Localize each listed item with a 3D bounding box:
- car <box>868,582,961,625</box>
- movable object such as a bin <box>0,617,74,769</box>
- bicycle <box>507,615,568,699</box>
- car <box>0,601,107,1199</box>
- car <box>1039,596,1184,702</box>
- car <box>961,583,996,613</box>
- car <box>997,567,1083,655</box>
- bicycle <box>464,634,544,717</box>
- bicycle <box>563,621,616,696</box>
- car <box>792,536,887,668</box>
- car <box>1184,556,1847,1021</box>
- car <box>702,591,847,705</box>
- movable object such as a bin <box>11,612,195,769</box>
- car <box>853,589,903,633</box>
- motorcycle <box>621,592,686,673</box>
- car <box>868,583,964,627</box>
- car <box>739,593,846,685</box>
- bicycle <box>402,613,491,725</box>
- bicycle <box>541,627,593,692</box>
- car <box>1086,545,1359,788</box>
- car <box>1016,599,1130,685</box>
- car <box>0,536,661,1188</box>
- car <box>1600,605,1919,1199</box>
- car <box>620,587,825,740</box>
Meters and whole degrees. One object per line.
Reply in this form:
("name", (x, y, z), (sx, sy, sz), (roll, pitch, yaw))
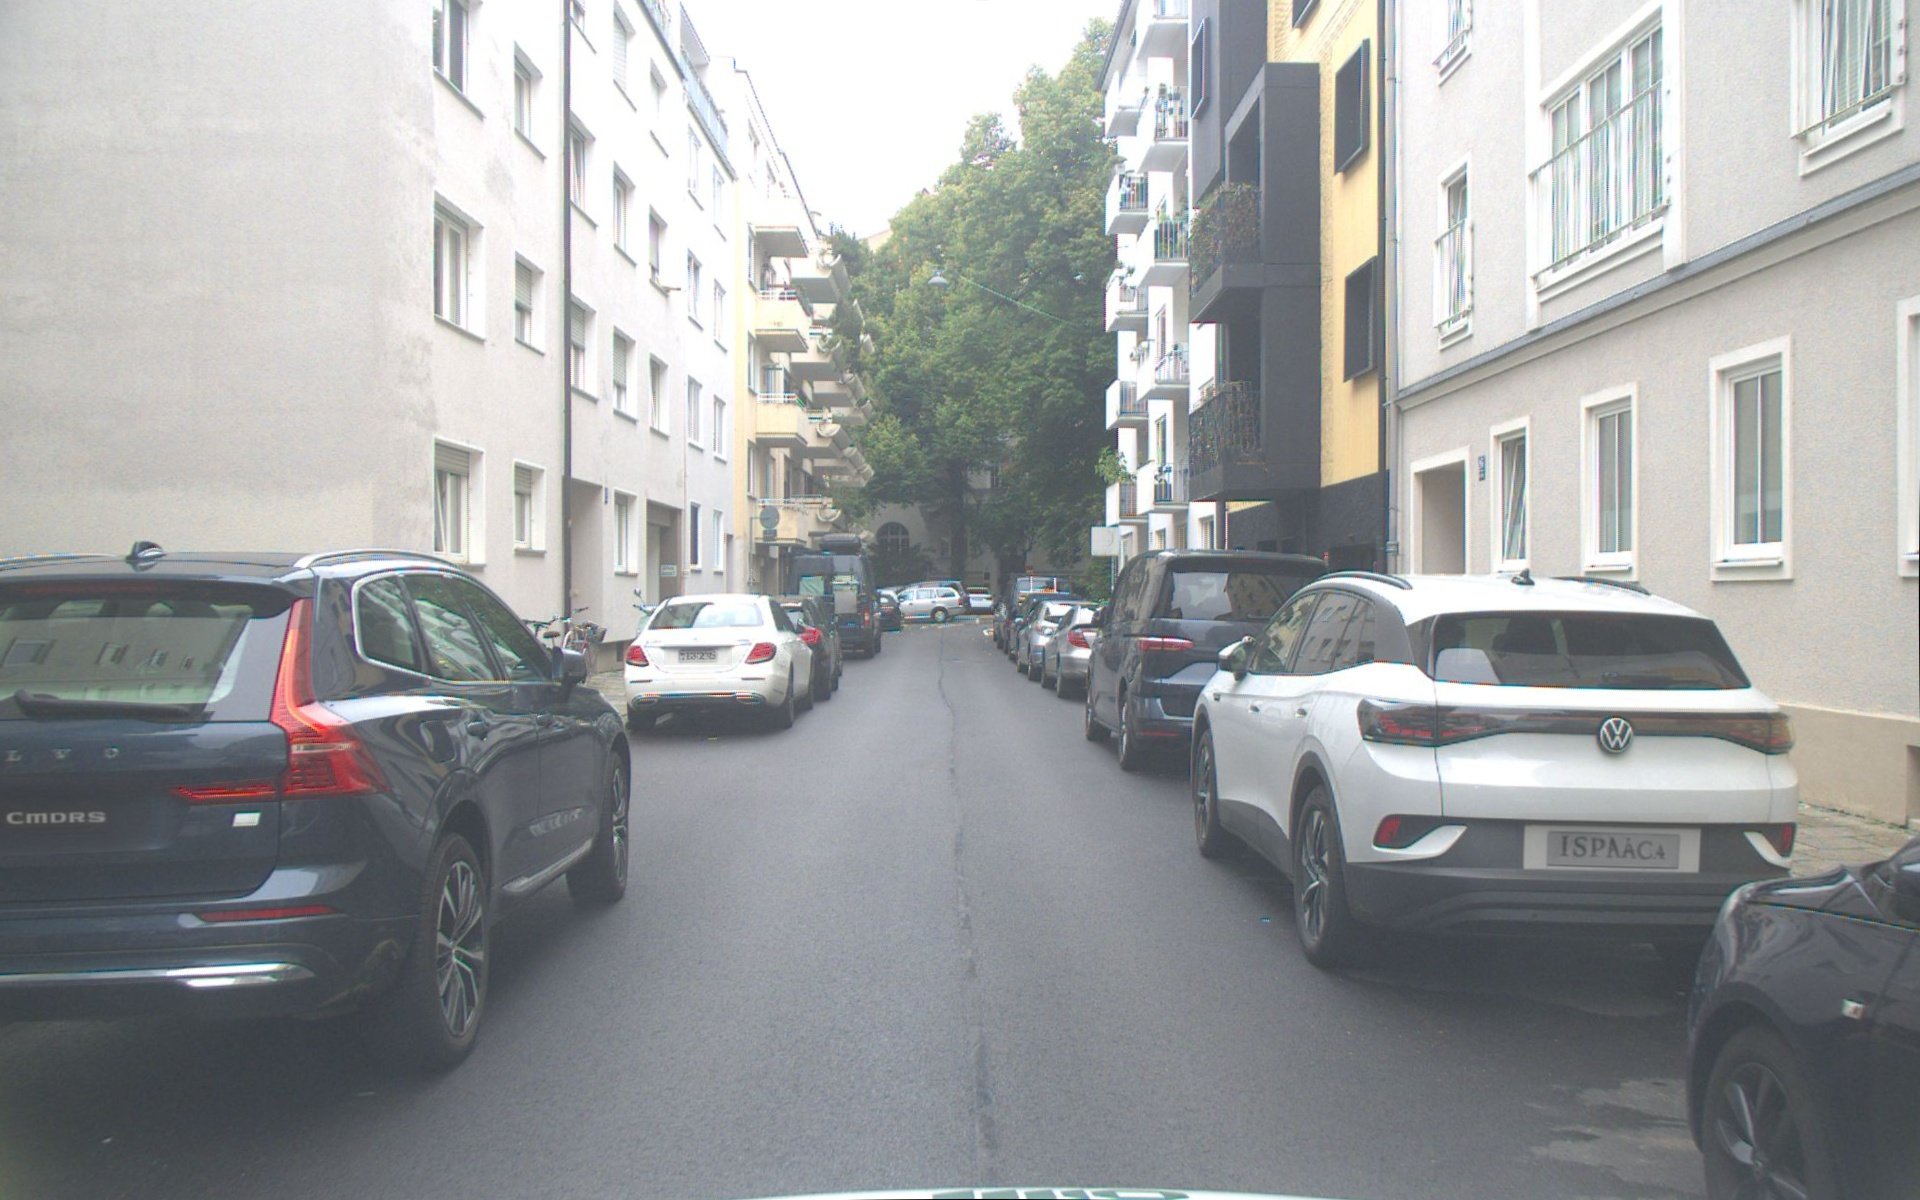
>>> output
("car", (-1.919, 0.134, 69.897), (3.808, 1.612, 1.647), (-3, 0, -2))
("movable object such as a bin", (-9.242, 0.876, 15.573), (1.205, 1.360, 0.993), (-2, 0, 2))
("bicycle", (-5.753, 0.752, 22.581), (0.388, 1.069, 1.759), (1, 0, -1))
("car", (-2.279, 0.767, 0.923), (1.659, 1.467, 3.976), (-1, 0, -2))
("car", (2.351, 0.723, 26.719), (1.792, 1.479, 4.414), (3, 0, -1))
("car", (0.927, -0.097, 85.008), (1.609, 1.407, 3.745), (-3, 0, -1))
("car", (1.983, 0.249, 42.255), (1.792, 2.034, 4.414), (3, 0, -1))
("bicycle", (-5.440, 0.877, 19.822), (0.388, 0.884, 2.132), (1, 0, -1))
("bicycle", (-5.276, 0.814, 23.604), (0.388, 0.999, 1.655), (1, 0, -1))
("car", (-2.804, 0.028, 39.318), (1.897, 2.850, 4.531), (-3, 0, -1))
("car", (2.286, 0.655, 8.107), (1.648, 1.595, 4.415), (2, 0, -1))
("car", (-2.700, 0.647, 24.847), (1.741, 1.478, 4.045), (-3, 0, -1))
("movable object such as a bin", (-7.973, 0.822, 15.441), (1.134, 1.360, 0.993), (-2, 0, 2))
("car", (-2.842, 0.365, 57.999), (1.609, 1.407, 3.481), (-3, 0, -1))
("motorcycle", (-5.426, 0.548, 29.392), (0.666, 1.374, 2.486), (0, 0, 0))
("car", (-1.814, 0.197, 67.947), (3.808, 1.612, 1.647), (-3, 0, -2))
("car", (-2.958, 0.654, 29.772), (1.609, 1.478, 3.161), (-3, 0, -1))
("bicycle", (-5.817, 0.749, 18.828), (0.388, 1.086, 2.133), (1, 2, -2))
("bicycle", (-5.786, 0.863, 24.413), (0.388, 0.884, 1.613), (1, 0, -1))
("car", (2.318, 0.528, 15.750), (1.792, 1.943, 4.415), (2, 0, -1))
("car", (2.143, 0.769, 32.580), (1.792, 1.479, 4.414), (3, 0, -1))
("car", (-2.412, 0.668, 6.470), (1.741, 1.657, 4.413), (-1, 0, -1))
("car", (2.590, 0.812, 2.635), (1.630, 1.495, 3.819), (2, 0, 0))
("car", (-2.674, 0.646, 19.615), (1.740, 1.513, 4.519), (-3, 0, 0))
